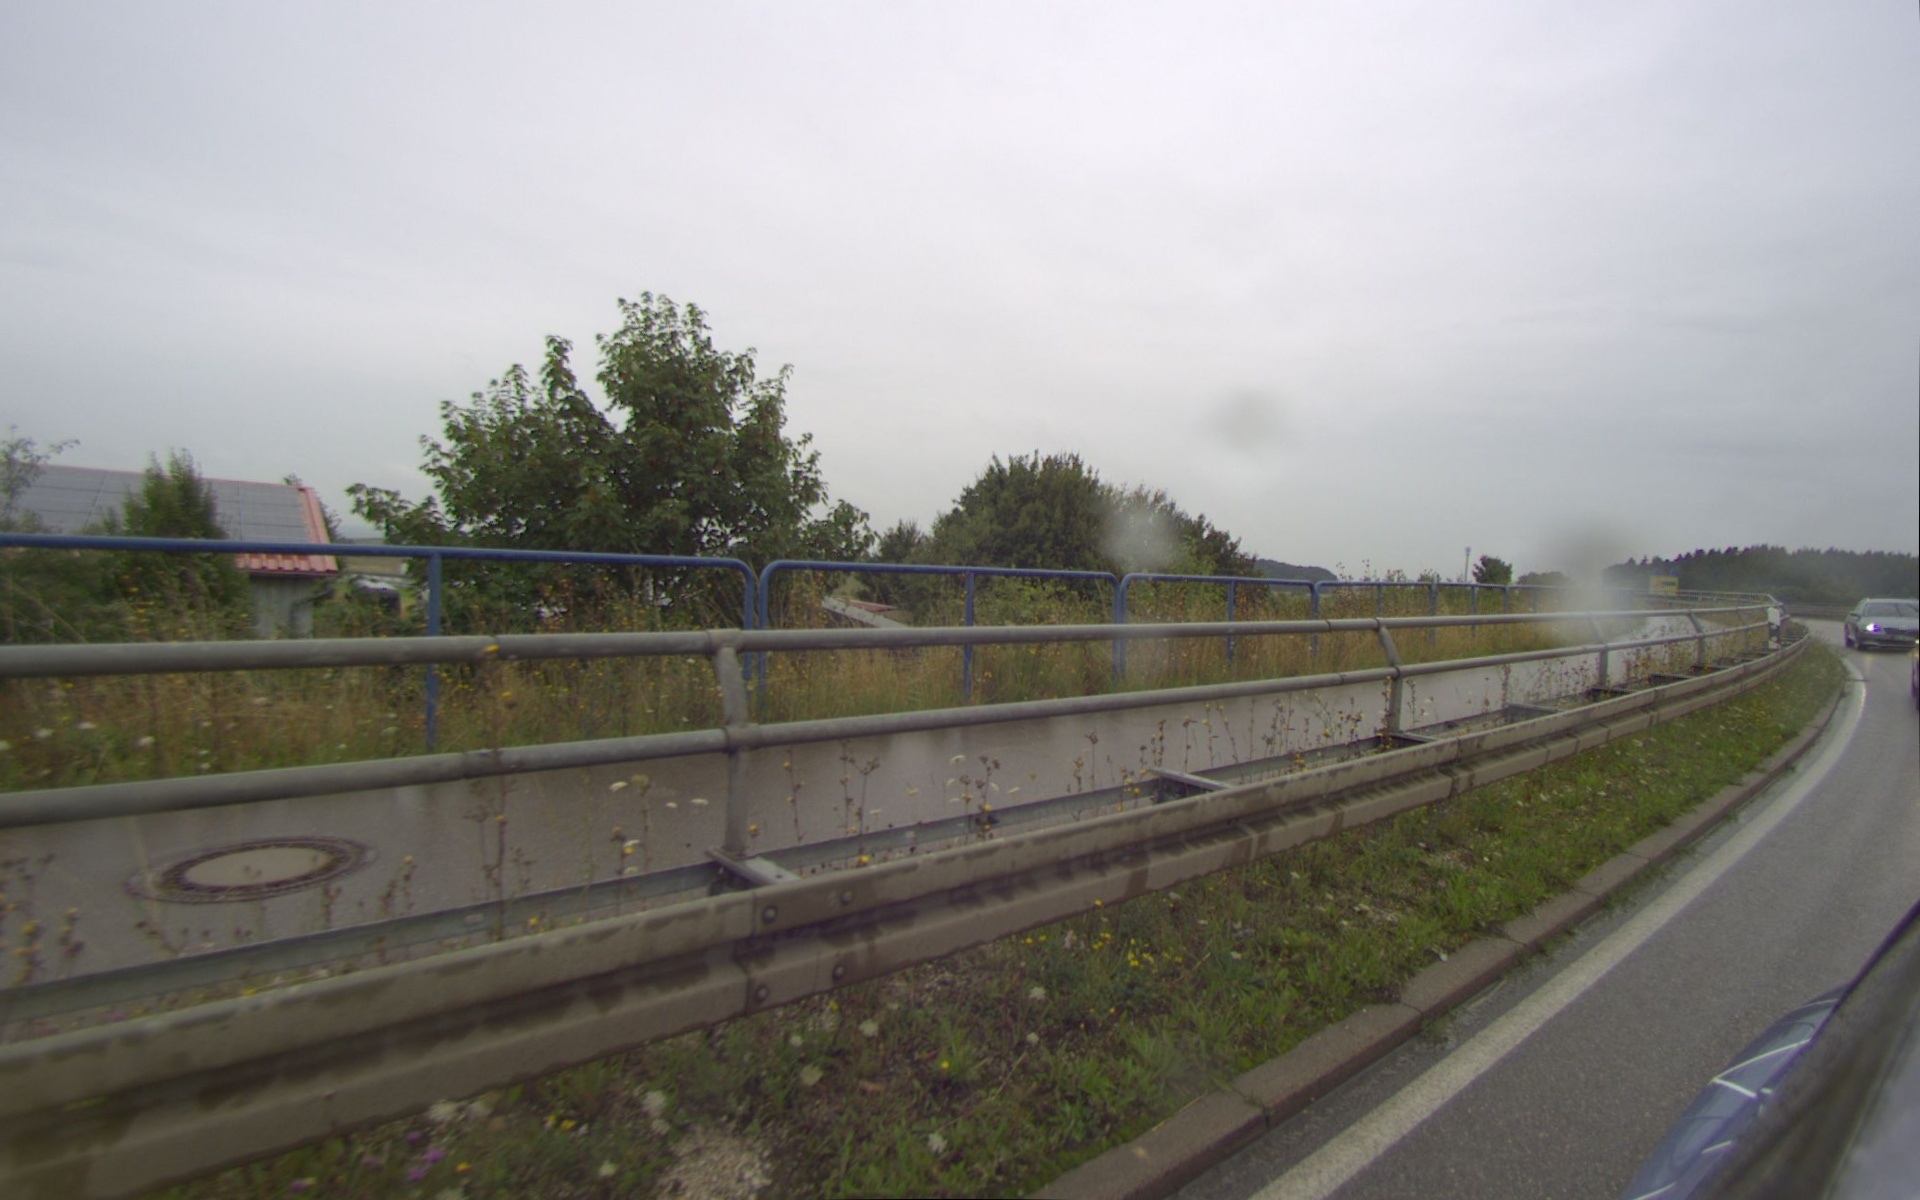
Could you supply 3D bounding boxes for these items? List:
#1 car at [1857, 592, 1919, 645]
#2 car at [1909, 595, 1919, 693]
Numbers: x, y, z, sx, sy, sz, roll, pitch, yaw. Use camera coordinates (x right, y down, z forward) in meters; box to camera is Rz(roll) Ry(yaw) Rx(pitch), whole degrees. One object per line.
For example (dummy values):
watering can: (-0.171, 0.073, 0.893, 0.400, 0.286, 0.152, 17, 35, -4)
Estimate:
car: (26.966, 0.482, 29.013, 1.813, 1.408, 4.008, 2, 1, 41)
car: (14.319, 0.663, 13.735, 1.812, 1.407, 4.010, 3, 2, 40)
